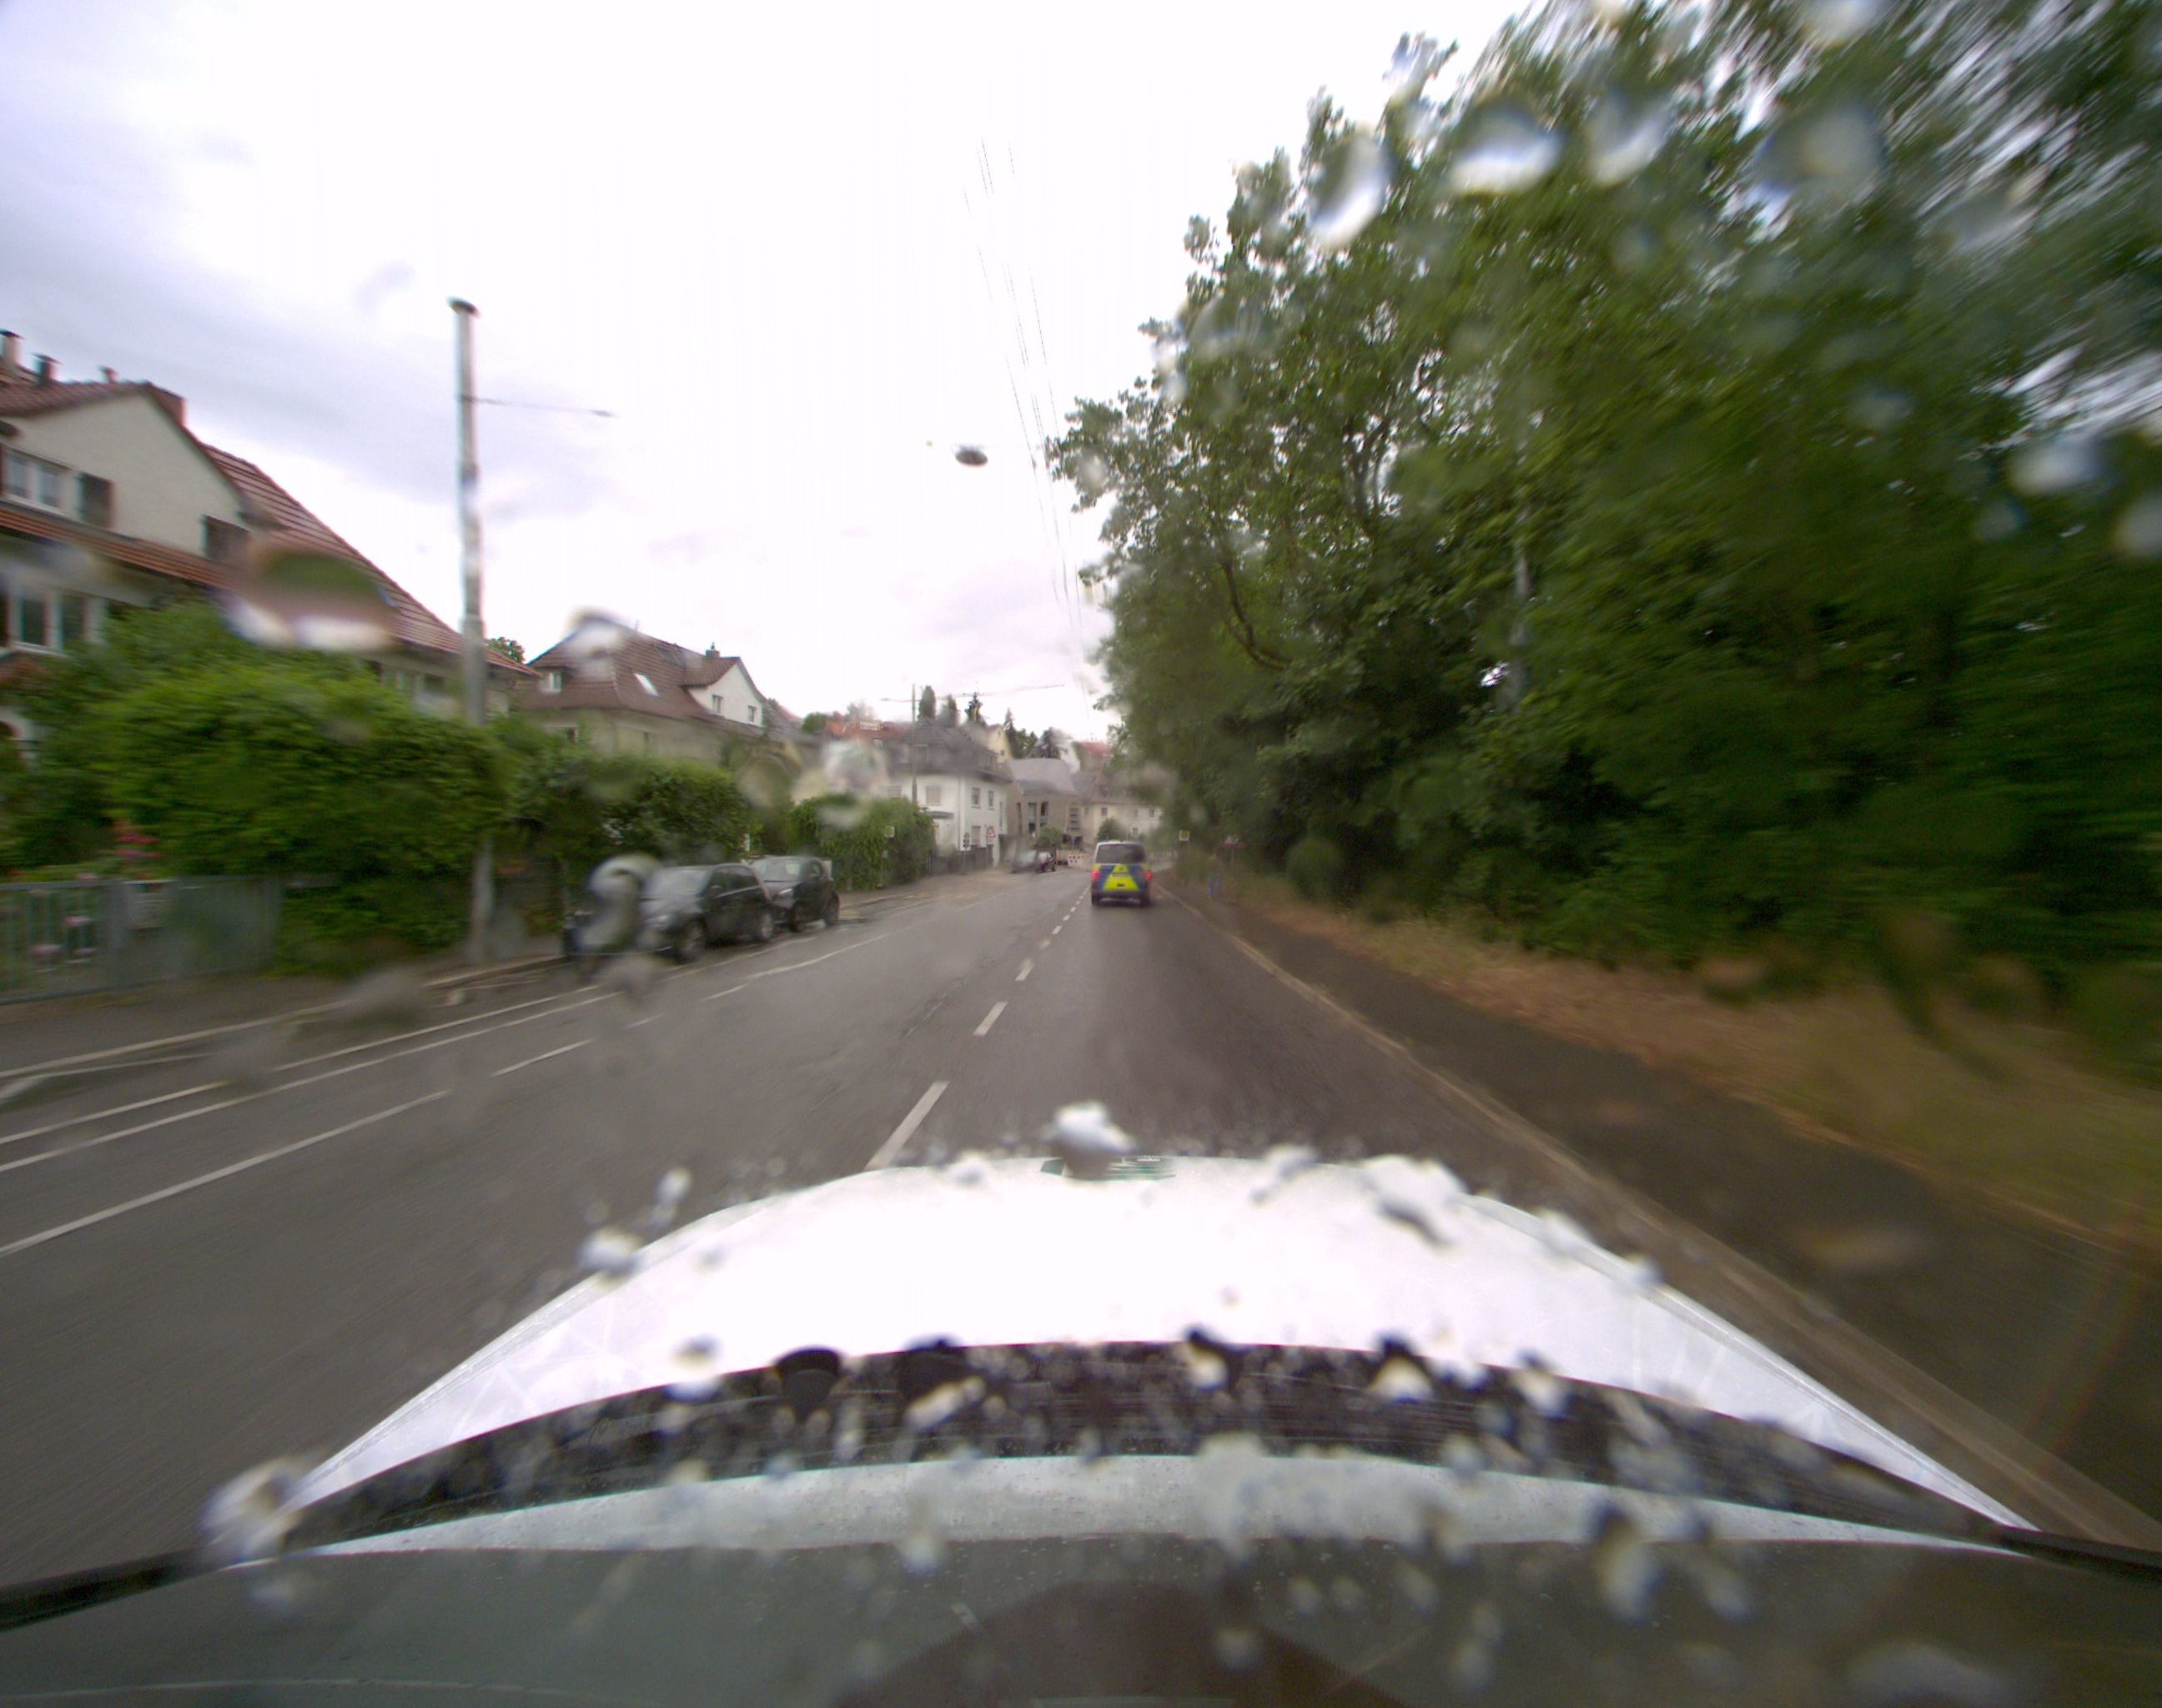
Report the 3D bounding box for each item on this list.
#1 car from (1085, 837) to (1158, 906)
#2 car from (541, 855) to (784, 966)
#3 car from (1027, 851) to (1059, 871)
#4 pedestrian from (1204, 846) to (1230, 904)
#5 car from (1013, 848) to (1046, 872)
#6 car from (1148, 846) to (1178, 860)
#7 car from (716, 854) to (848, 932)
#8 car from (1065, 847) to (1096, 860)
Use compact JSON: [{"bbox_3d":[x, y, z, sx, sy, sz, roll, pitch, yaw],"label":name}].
[{"bbox_3d":[1.190,0.502,25.951,1.988,2.013,4.399,0,0,-1],"label":"car"},{"bbox_3d":[-6.412,0.771,13.091,1.682,1.418,4.215,-1,1,0],"label":"car"},{"bbox_3d":[-2.991,0.504,64.544,1.606,1.440,4.242,1,1,10],"label":"car"},{"bbox_3d":[3.831,0.585,22.961,0.639,1.611,0.670,0,-1,1],"label":"pedestrian"},{"bbox_3d":[-3.706,0.427,59.198,1.746,1.658,4.410,-1,1,4],"label":"car"},{"bbox_3d":[12.399,-0.129,123.130,3.949,2.013,1.842,2,1,33],"label":"car"},{"bbox_3d":[-6.231,0.760,17.273,1.513,1.454,3.032,-1,0,3],"label":"car"},{"bbox_3d":[-0.029,-0.063,100.386,1.847,1.443,3.957,1,1,-35],"label":"car"}]
